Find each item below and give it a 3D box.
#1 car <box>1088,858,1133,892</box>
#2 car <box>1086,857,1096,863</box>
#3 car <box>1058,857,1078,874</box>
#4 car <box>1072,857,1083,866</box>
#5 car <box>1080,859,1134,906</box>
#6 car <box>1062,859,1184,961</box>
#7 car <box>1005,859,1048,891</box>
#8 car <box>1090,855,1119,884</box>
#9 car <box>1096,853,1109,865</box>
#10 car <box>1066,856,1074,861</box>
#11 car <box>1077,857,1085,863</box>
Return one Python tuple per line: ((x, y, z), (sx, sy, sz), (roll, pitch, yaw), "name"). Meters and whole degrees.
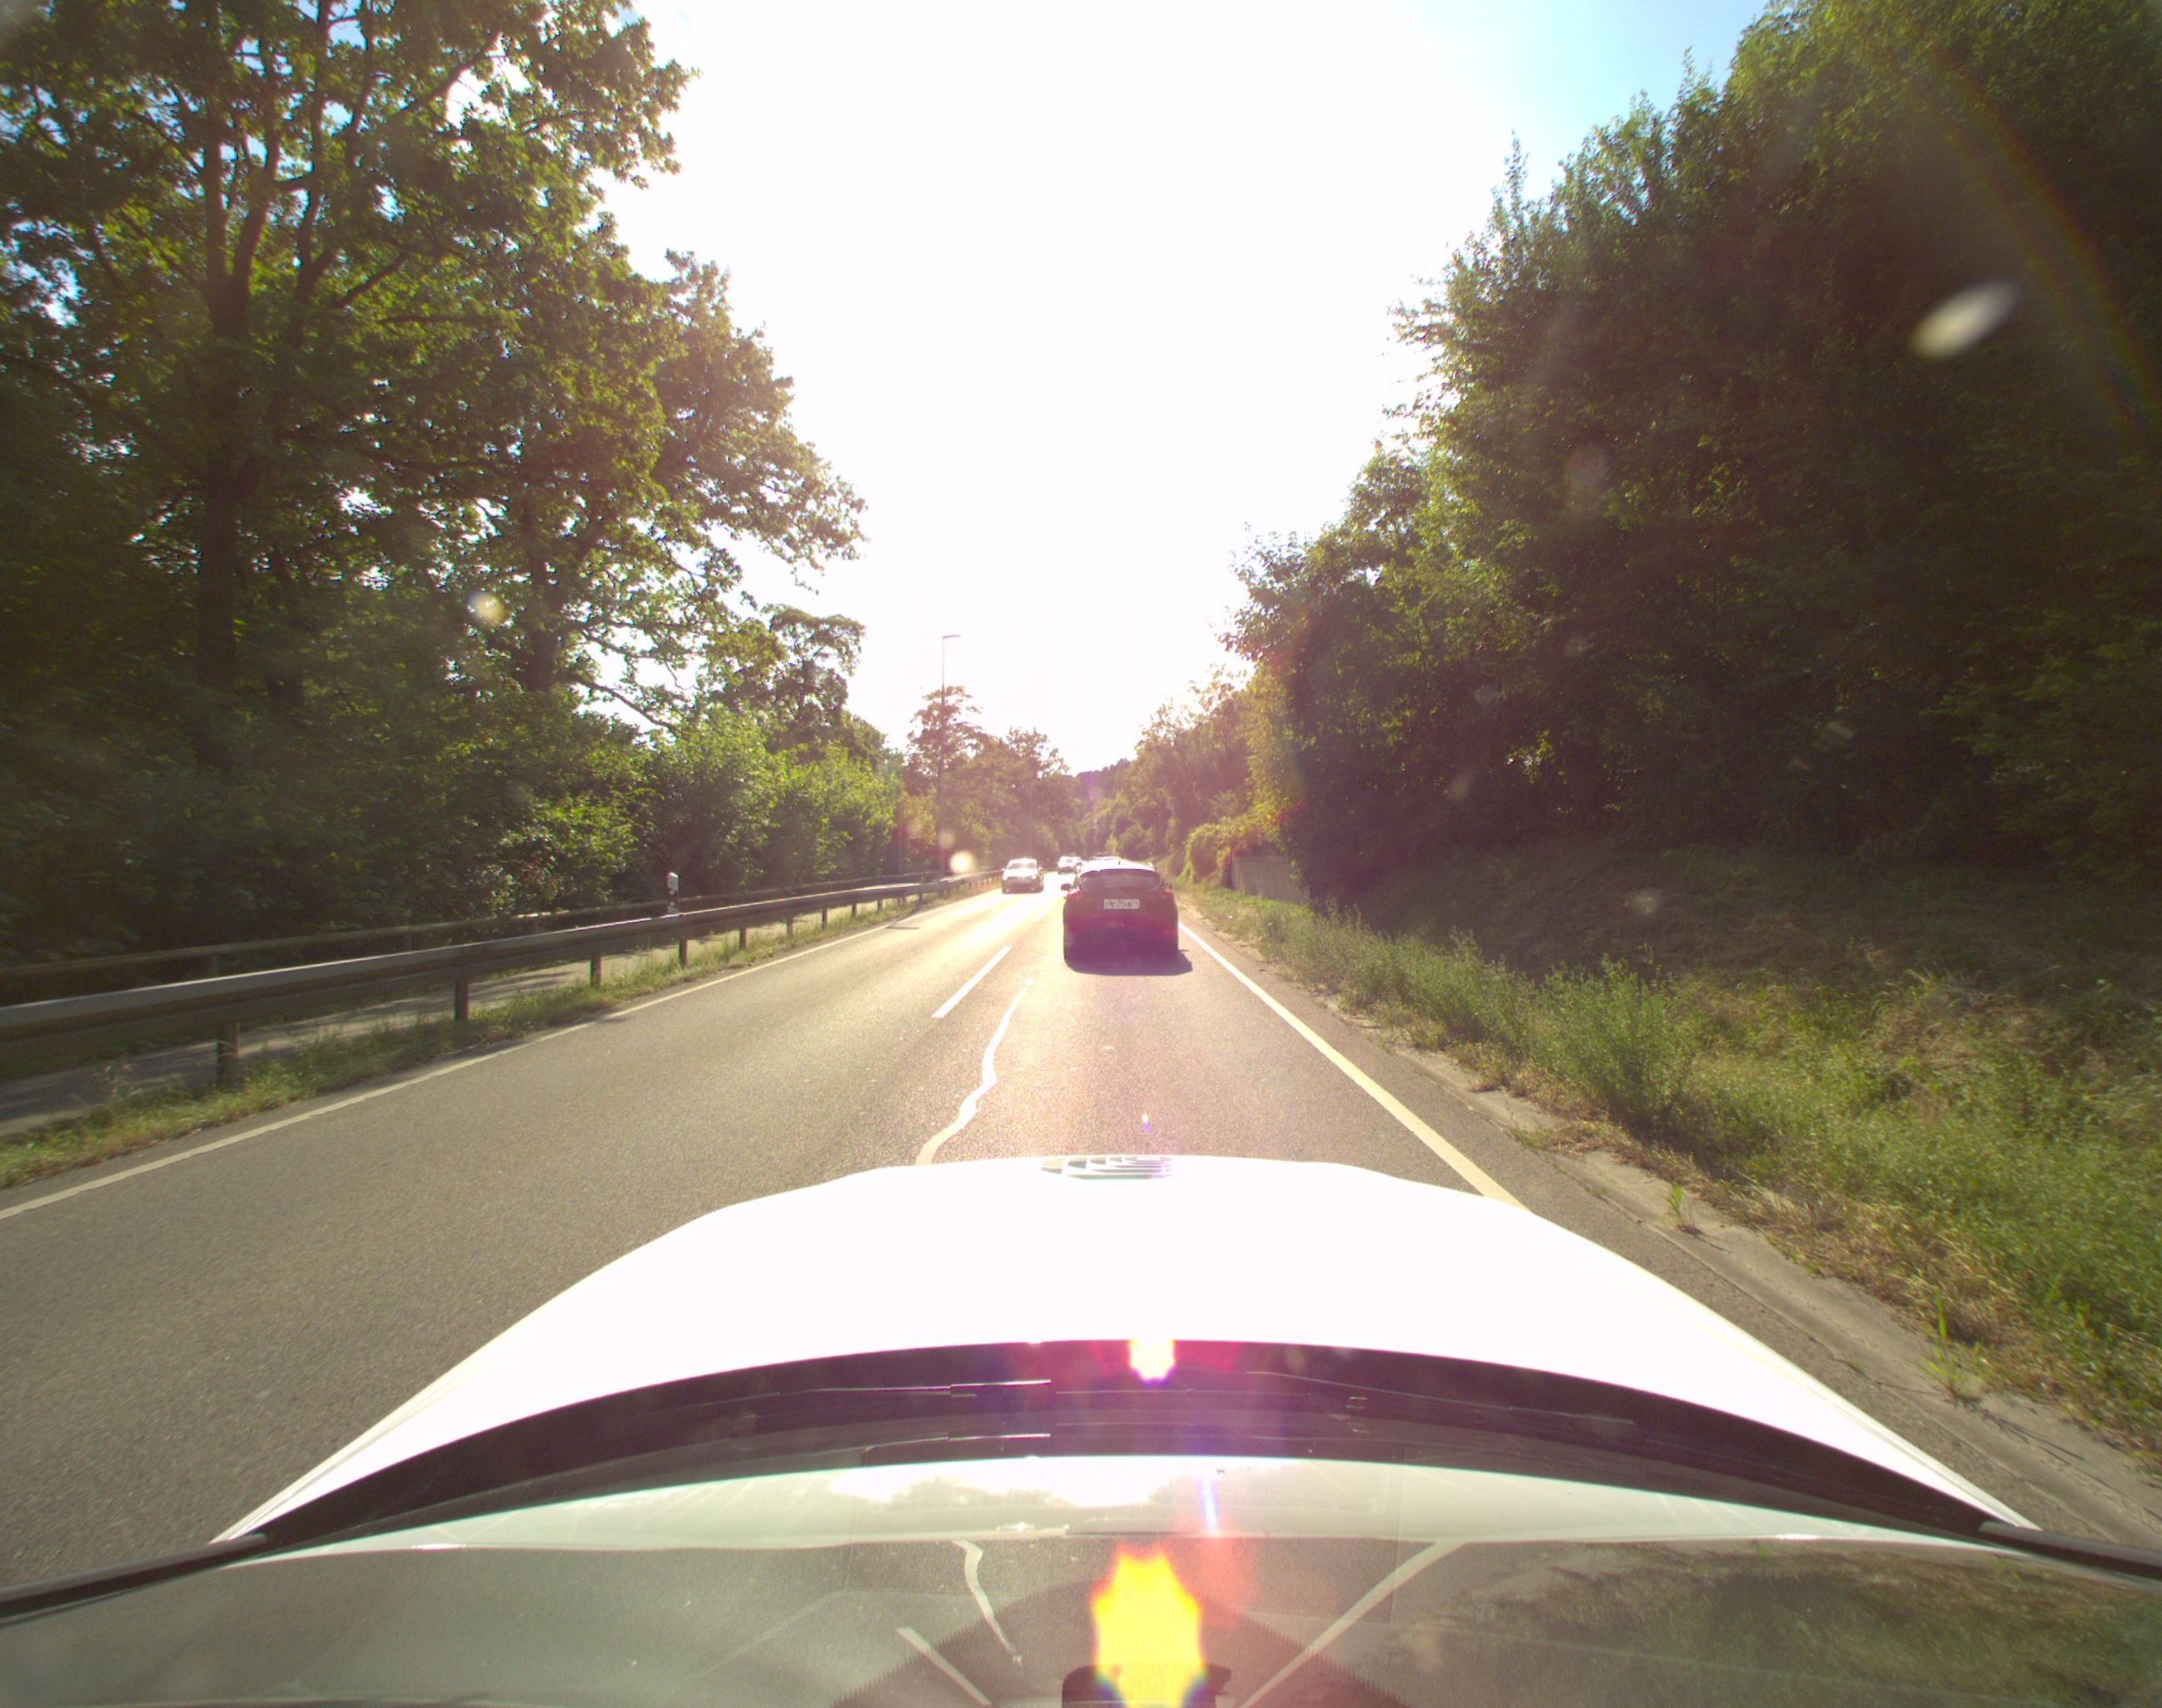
((1.272, 0.870, 35.453), (1.798, 1.391, 4.002), (-1, 0, 2), "car")
((2.433, 1.558, 202.582), (1.991, 1.519, 3.992), (-1, 0, -6), "car")
((-1.176, 1.050, 75.215), (1.675, 1.463, 4.198), (-1, 0, 1), "car")
((-0.559, 1.222, 133.371), (1.768, 1.387, 4.002), (-1, 0, 2), "car")
((0.938, 0.909, 27.597), (1.654, 1.418, 4.003), (-1, 0, 3), "car")
((0.663, 0.821, 13.693), (1.733, 1.456, 4.002), (-1, -1, 2), "car")
((-2.515, 0.965, 38.282), (1.617, 1.377, 4.048), (-1, 0, 1), "car")
((1.400, 0.878, 47.792), (1.624, 1.596, 4.002), (-1, 0, 2), "car")
((3.270, 0.700, 124.902), (1.857, 1.780, 3.999), (-1, 0, 0), "car")
((-3.427, 1.286, 252.415), (1.994, 1.519, 3.986), (-1, 0, -10), "car")
((0.035, 1.755, 232.908), (1.991, 1.519, 3.991), (-1, 0, -6), "car")
